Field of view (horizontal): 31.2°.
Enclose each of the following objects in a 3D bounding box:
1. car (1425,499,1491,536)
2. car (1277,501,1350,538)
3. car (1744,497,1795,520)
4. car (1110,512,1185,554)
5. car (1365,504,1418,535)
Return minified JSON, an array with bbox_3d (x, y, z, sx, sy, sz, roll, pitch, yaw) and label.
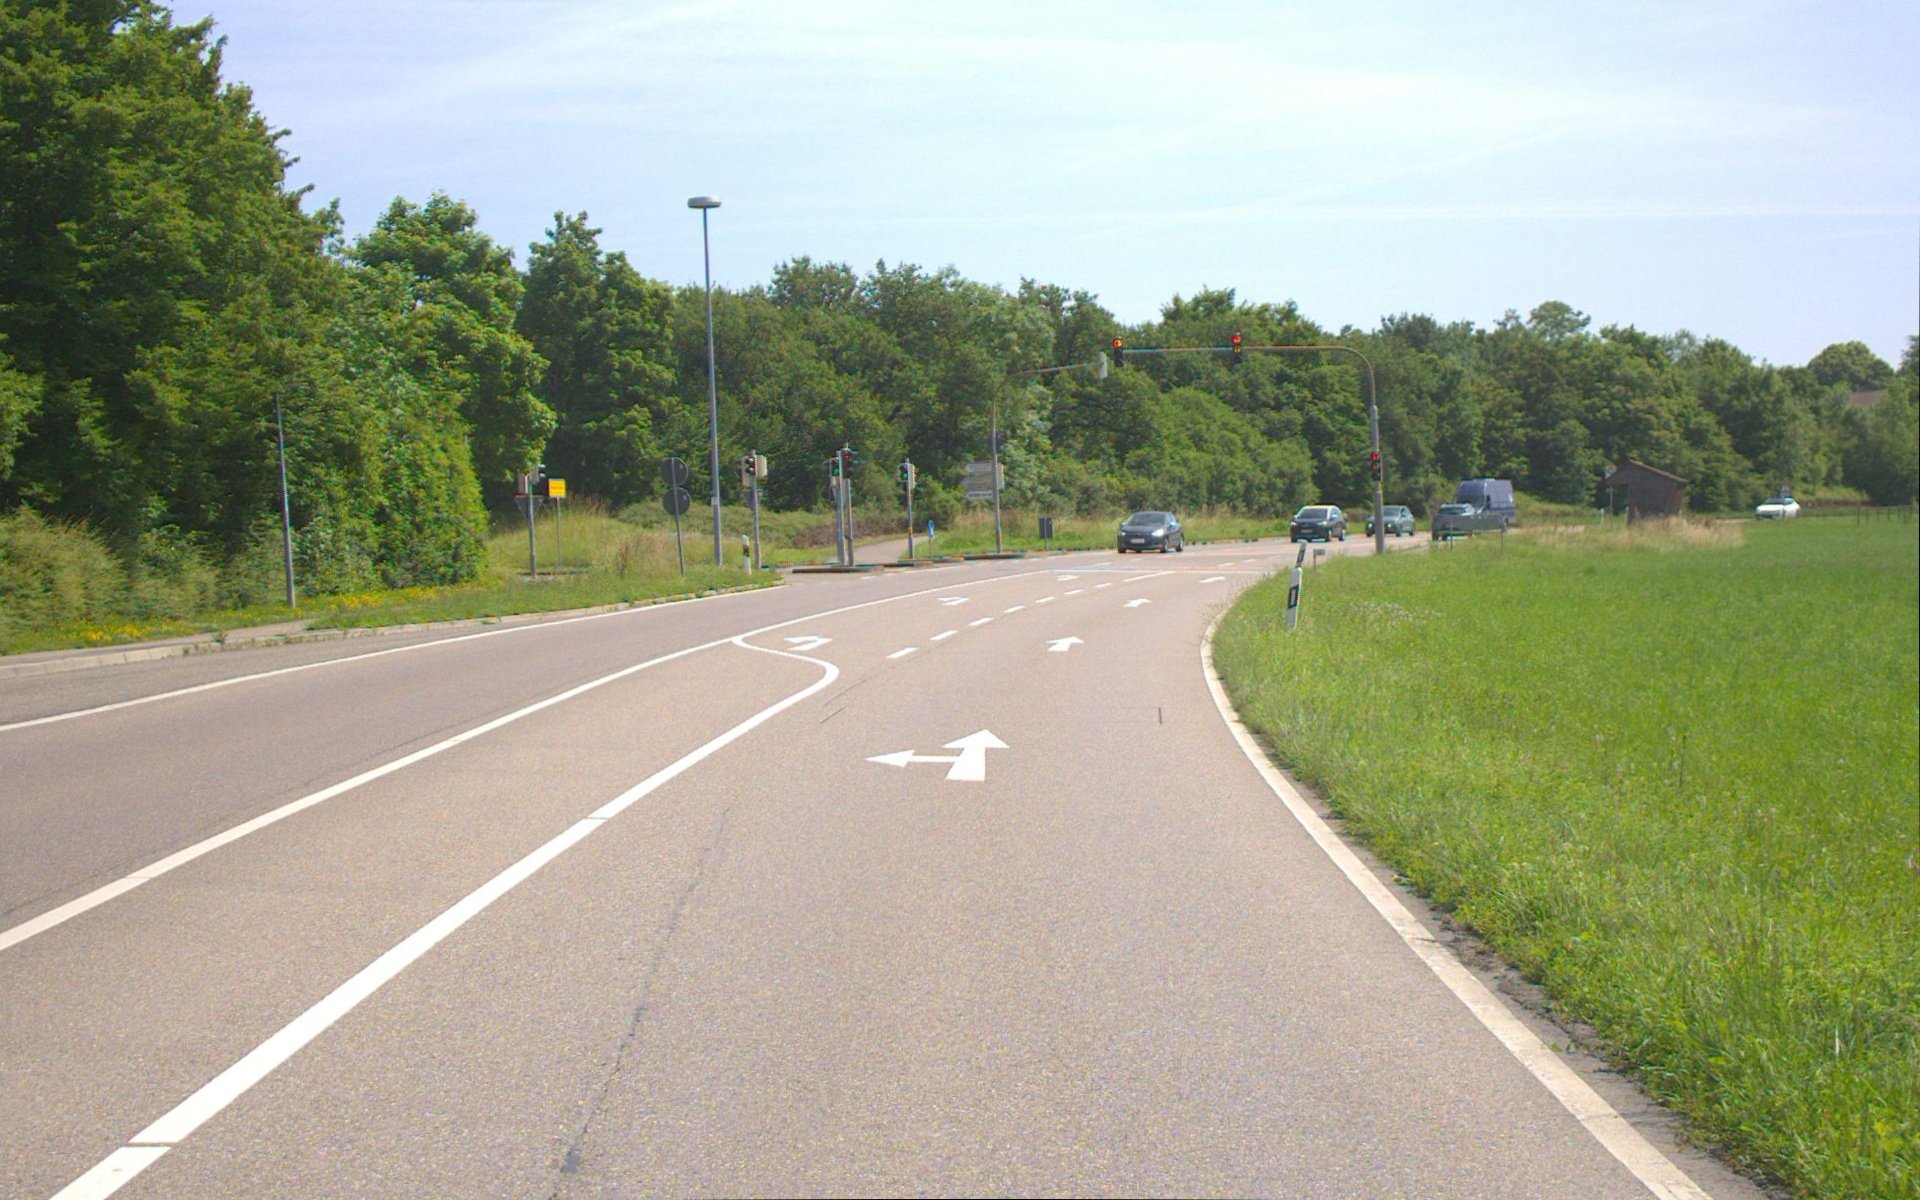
[{"bbox_3d":[21.572,-3.582,148.688,1.996,1.568,3.996,0,1,21],"label":"car"},{"bbox_3d":[15.435,-3.514,149.905,1.976,1.557,4.184,0,1,24],"label":"car"},{"bbox_3d":[55.473,-6.291,235.617,1.941,1.543,4.619,0,1,33],"label":"car"},{"bbox_3d":[6.747,-2.414,123.311,1.792,1.469,4.307,0,1,16],"label":"car"},{"bbox_3d":[20.896,-3.907,166.402,1.708,1.478,3.828,0,1,21],"label":"car"}]
